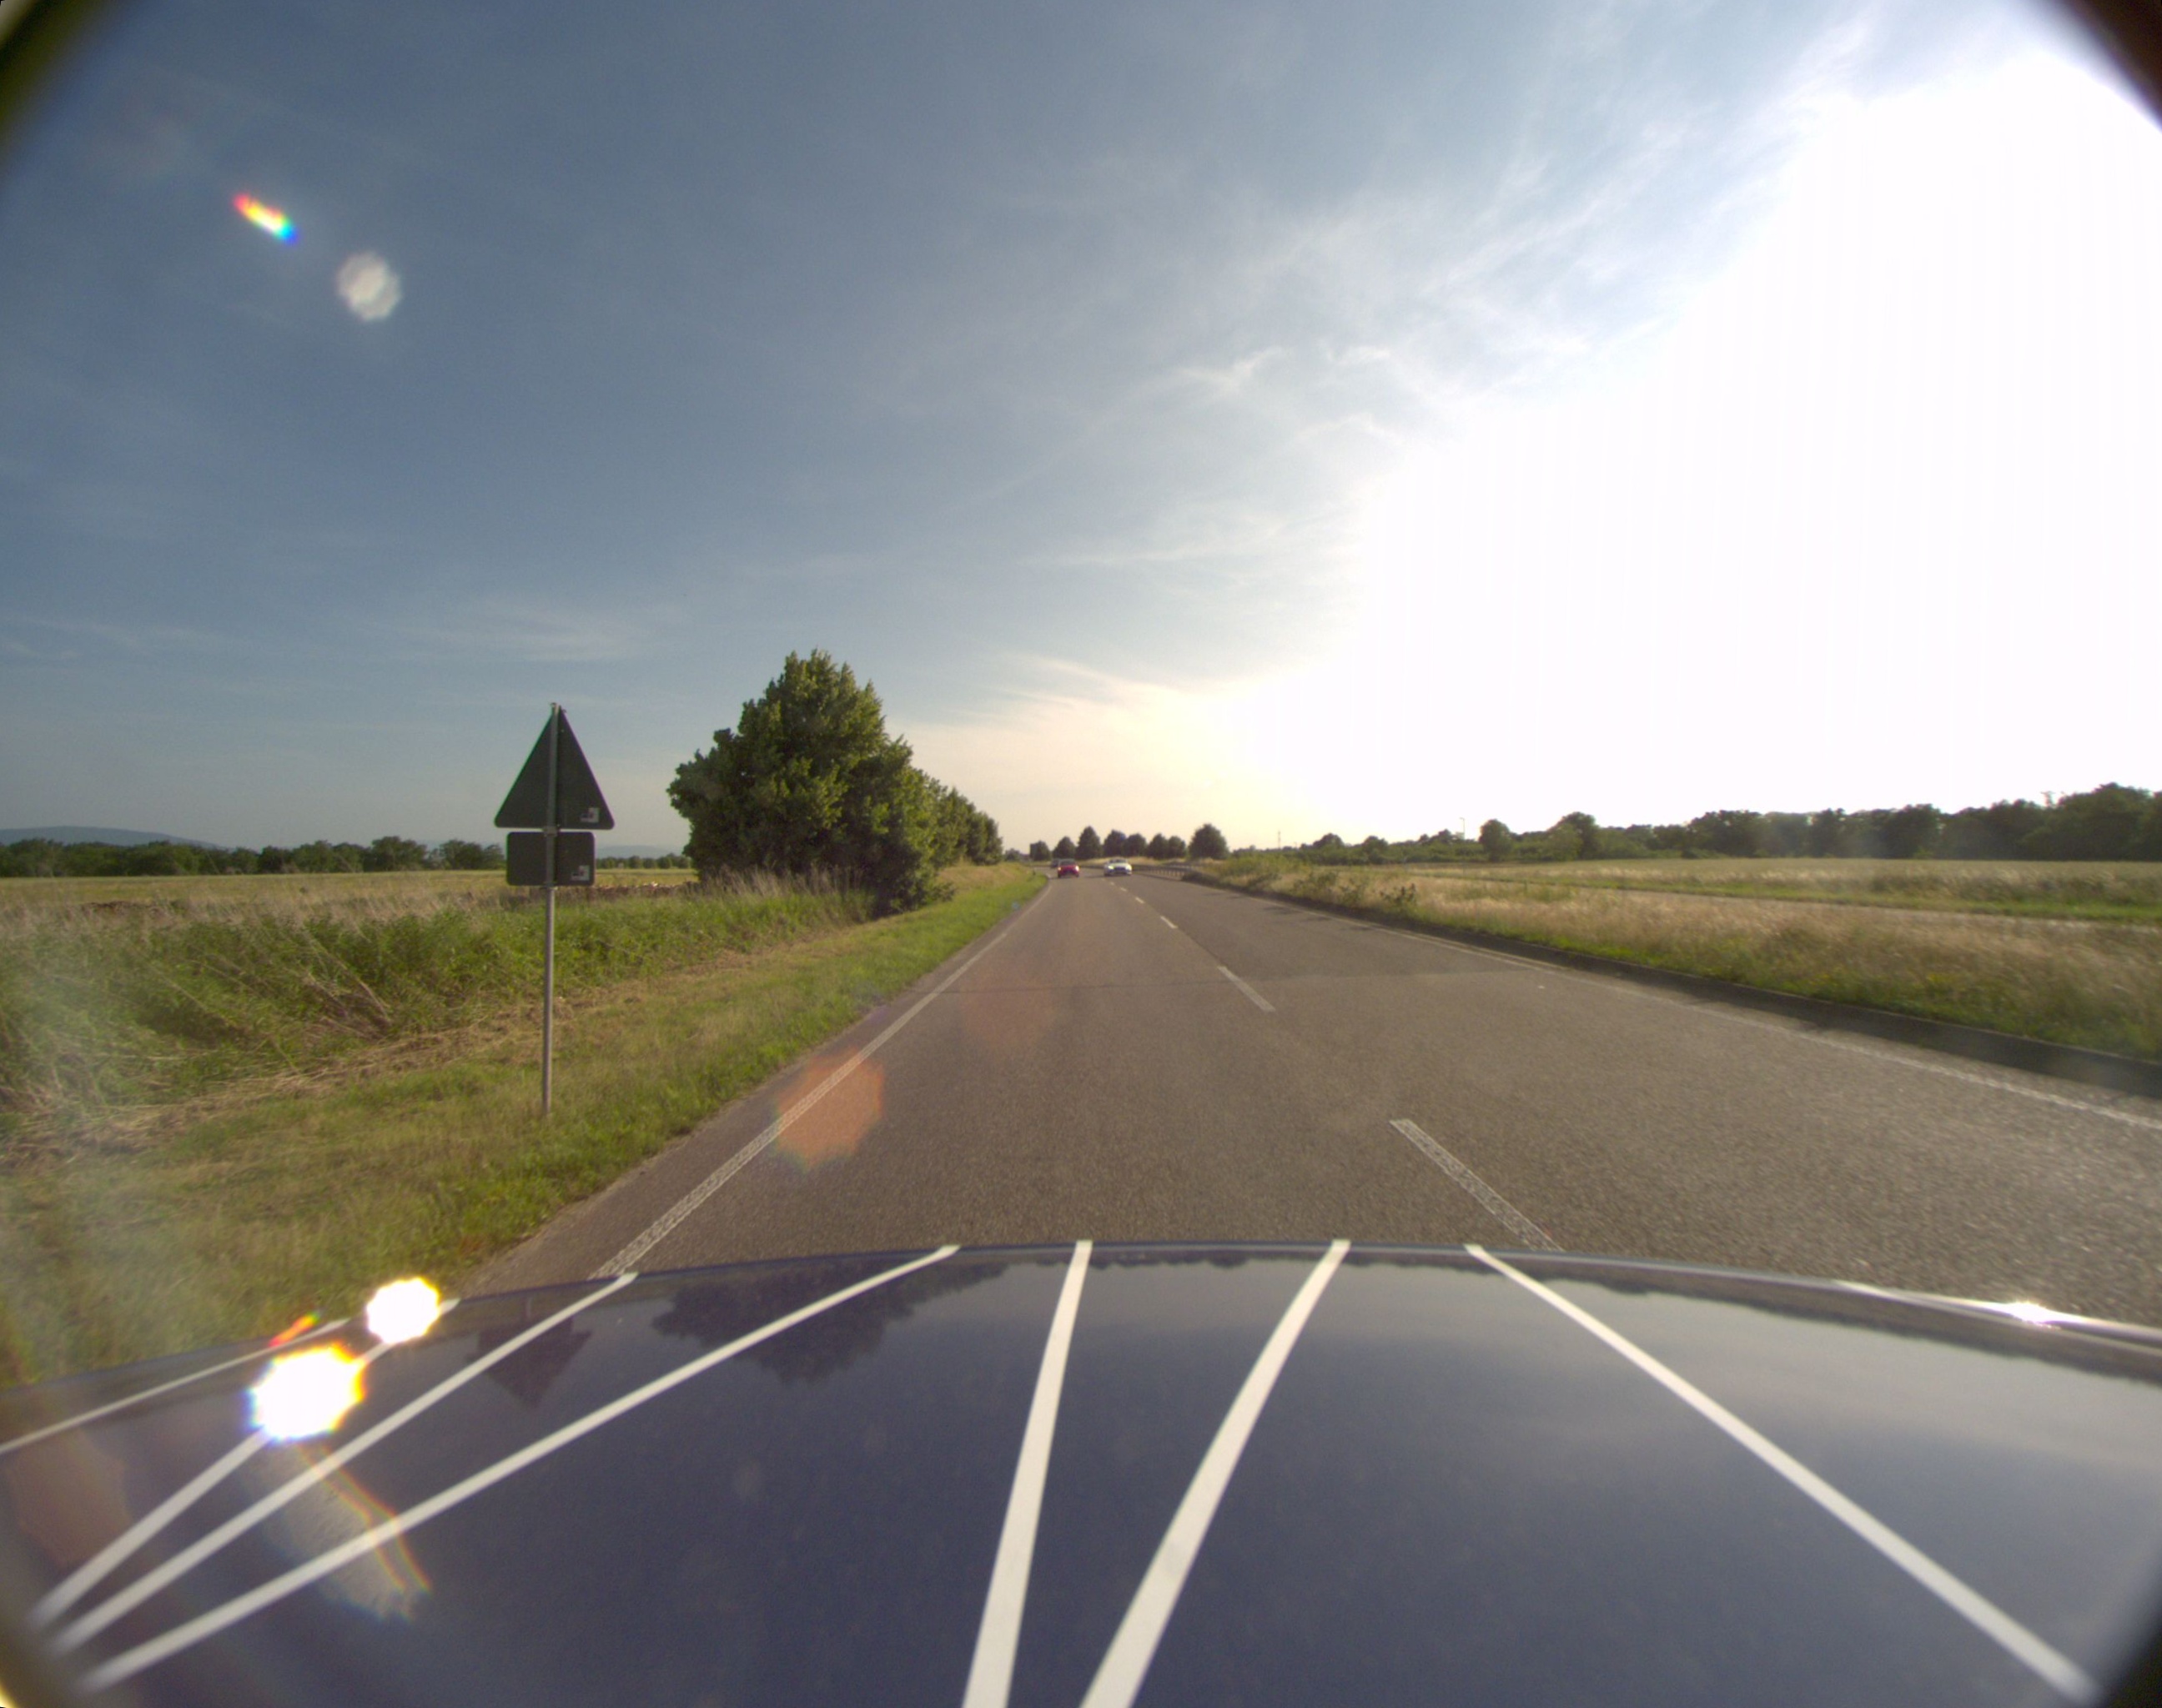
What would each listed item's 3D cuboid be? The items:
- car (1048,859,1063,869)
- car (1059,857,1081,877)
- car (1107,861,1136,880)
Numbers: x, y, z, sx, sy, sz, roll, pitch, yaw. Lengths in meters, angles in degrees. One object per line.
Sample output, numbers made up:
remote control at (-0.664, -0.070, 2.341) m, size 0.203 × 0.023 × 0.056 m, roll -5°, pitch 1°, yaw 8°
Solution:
car at (-3.831, 1.488, 115.364) m, size 1.753 × 1.521 × 3.997 m, roll -2°, pitch 0°, yaw -9°
car at (-0.894, 1.041, 62.829) m, size 1.665 × 1.455 × 3.954 m, roll -2°, pitch 1°, yaw 0°
car at (3.216, 1.317, 61.216) m, size 1.876 × 1.390 × 4.203 m, roll -2°, pitch 0°, yaw -2°
